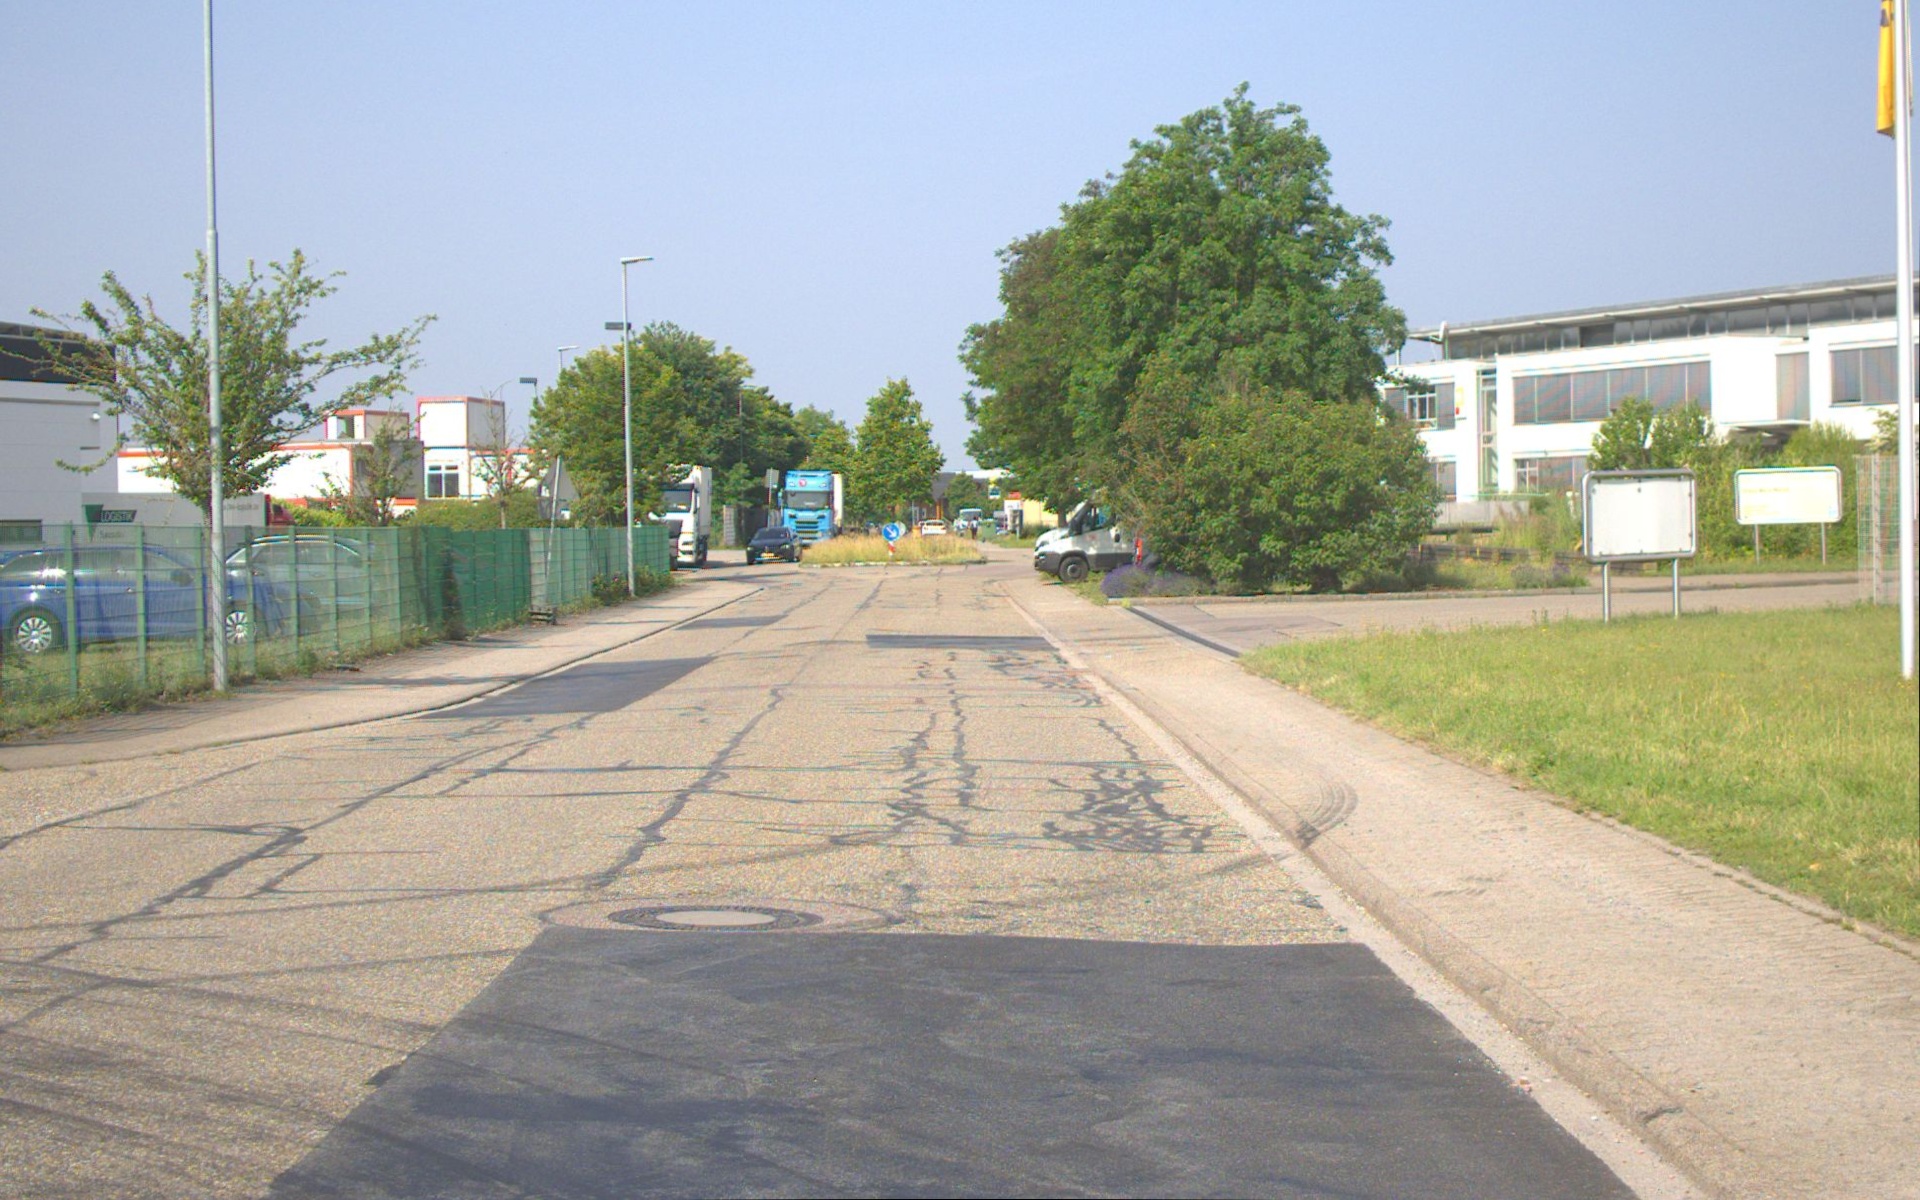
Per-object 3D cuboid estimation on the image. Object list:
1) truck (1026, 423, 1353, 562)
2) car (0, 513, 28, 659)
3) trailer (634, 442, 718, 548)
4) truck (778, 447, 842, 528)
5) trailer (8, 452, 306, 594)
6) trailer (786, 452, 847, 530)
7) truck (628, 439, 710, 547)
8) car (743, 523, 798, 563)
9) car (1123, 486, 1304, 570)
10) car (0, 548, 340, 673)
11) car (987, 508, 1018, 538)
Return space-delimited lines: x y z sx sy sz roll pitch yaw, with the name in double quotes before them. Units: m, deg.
"truck" 5.900 -2.764 89.380 8.208 3.358 2.741 -1 1 -1
"car" -11.061 -0.090 32.113 4.164 1.363 1.868 -1 1 1
"trailer" -10.977 -4.028 133.493 2.699 3.908 7.576 1 1 -1
"truck" -7.503 -5.624 173.337 2.825 3.812 9.673 1 1 -1
"trailer" -24.345 -2.242 105.397 2.483 4.027 13.878 1 1 15
"trailer" -7.617 -5.736 183.346 2.831 3.829 12.037 1 1 -1
"truck" -10.893 -3.975 129.129 2.708 3.908 4.297 1 1 -1
"car" -7.410 -2.253 134.961 1.993 1.444 4.420 -3 2 -2
"car" 5.778 -1.656 78.760 3.987 1.831 2.000 -1 1 1
"car" -10.786 0.136 45.695 4.685 1.439 2.078 -2 1 -1
"car" 2.648 -4.794 214.181 1.792 1.744 4.000 1 1 -1
